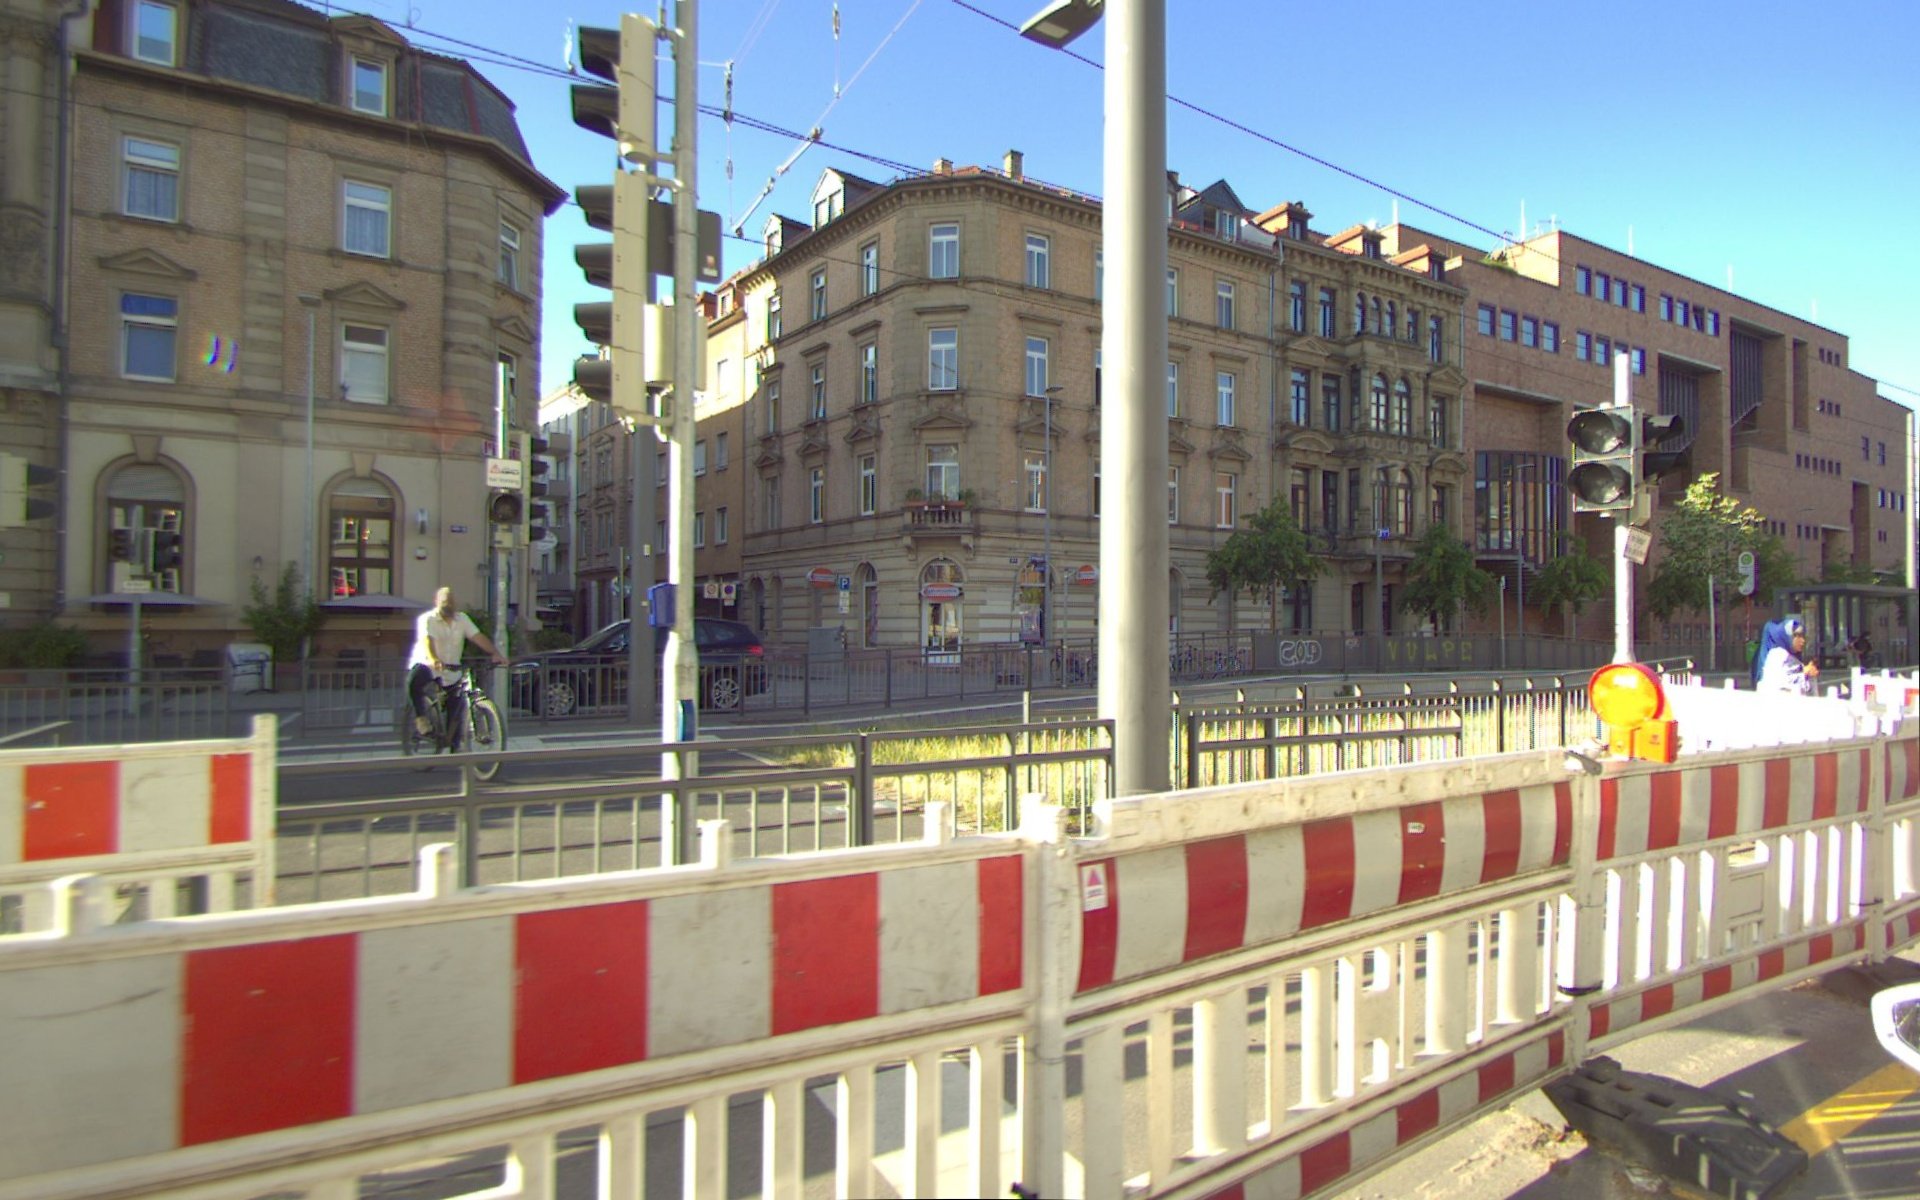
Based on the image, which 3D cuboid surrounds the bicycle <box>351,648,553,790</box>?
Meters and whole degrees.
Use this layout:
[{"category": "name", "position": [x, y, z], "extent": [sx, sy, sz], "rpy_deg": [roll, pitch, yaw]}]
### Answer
[{"category": "bicycle", "position": [-4.835, 1.064, 9.519], "extent": [1.964, 1.169, 0.854], "rpy_deg": [0, -2, 34]}]

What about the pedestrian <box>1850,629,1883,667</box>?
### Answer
[{"category": "pedestrian", "position": [32.088, 1.709, 35.545], "extent": [0.713, 1.326, 0.643], "rpy_deg": [1, -3, -30]}]

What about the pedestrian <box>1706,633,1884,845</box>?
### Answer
[{"category": "pedestrian", "position": [6.334, 0.993, 7.631], "extent": [0.936, 1.477, 0.785], "rpy_deg": [1, -2, -32]}]

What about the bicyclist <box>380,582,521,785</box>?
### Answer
[{"category": "bicyclist", "position": [-4.818, 0.755, 9.517], "extent": [0.870, 1.797, 0.854], "rpy_deg": [0, -2, 34]}]

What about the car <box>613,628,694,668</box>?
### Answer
[{"category": "car", "position": [-12.554, 1.914, 41.005], "extent": [1.812, 1.539, 3.955], "rpy_deg": [2, -2, -39]}]

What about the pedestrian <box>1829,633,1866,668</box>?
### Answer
[{"category": "pedestrian", "position": [30.411, 1.743, 34.415], "extent": [0.713, 1.183, 0.718], "rpy_deg": [1, -3, -30]}]

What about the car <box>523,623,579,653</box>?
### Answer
[{"category": "car", "position": [-21.717, 2.006, 53.239], "extent": [1.723, 1.539, 3.750], "rpy_deg": [2, -2, -39]}]

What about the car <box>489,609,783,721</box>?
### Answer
[{"category": "car", "position": [-5.377, 1.042, 16.830], "extent": [4.423, 1.661, 1.788], "rpy_deg": [2, -2, -30]}]

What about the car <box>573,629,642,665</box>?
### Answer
[{"category": "car", "position": [-15.878, 2.080, 45.151], "extent": [1.723, 1.539, 3.750], "rpy_deg": [2, -2, -39]}]

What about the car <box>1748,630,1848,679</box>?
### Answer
[{"category": "car", "position": [34.593, 2.206, 41.444], "extent": [4.535, 1.905, 1.982], "rpy_deg": [2, -2, -34]}]
